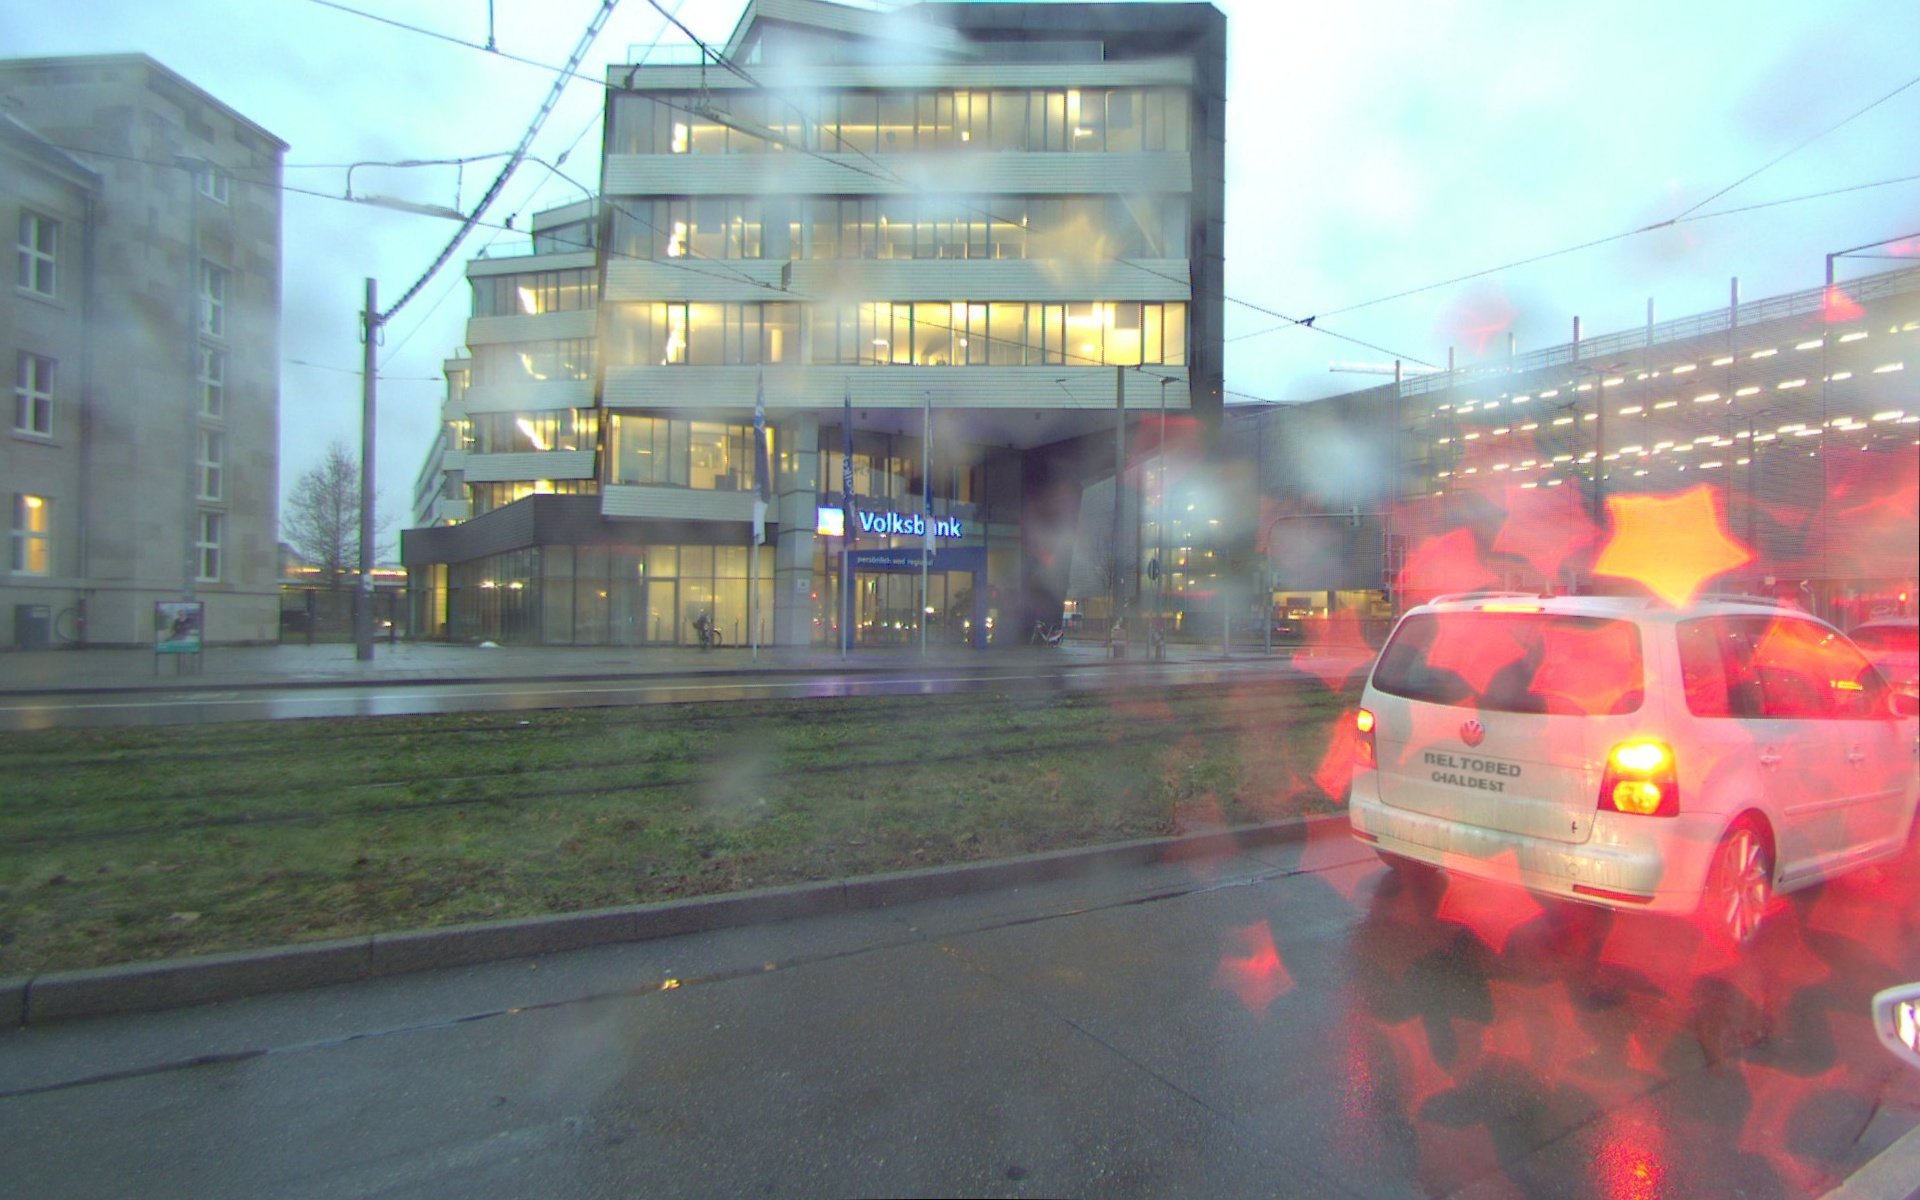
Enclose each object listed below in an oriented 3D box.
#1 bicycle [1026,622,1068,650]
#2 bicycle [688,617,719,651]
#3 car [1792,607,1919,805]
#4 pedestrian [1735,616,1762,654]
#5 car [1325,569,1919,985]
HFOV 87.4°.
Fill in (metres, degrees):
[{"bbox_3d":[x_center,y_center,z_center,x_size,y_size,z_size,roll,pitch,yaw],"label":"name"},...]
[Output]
[{"bbox_3d":[3.486,1.446,40.142,1.582,1.084,0.637,0,-1,-31],"label":"bicycle"},{"bbox_3d":[-8.729,1.158,34.286,0.518,1.142,1.498,0,-1,6],"label":"bicycle"},{"bbox_3d":[9.520,0.895,9.308,4.320,1.591,1.808,1,-1,-36],"label":"car"},{"bbox_3d":[52.663,2.318,67.103,0.955,2.471,1.105,2,0,-30],"label":"pedestrian"},{"bbox_3d":[4.128,0.737,5.772,4.177,1.620,1.662,1,-1,-33],"label":"car"}]
